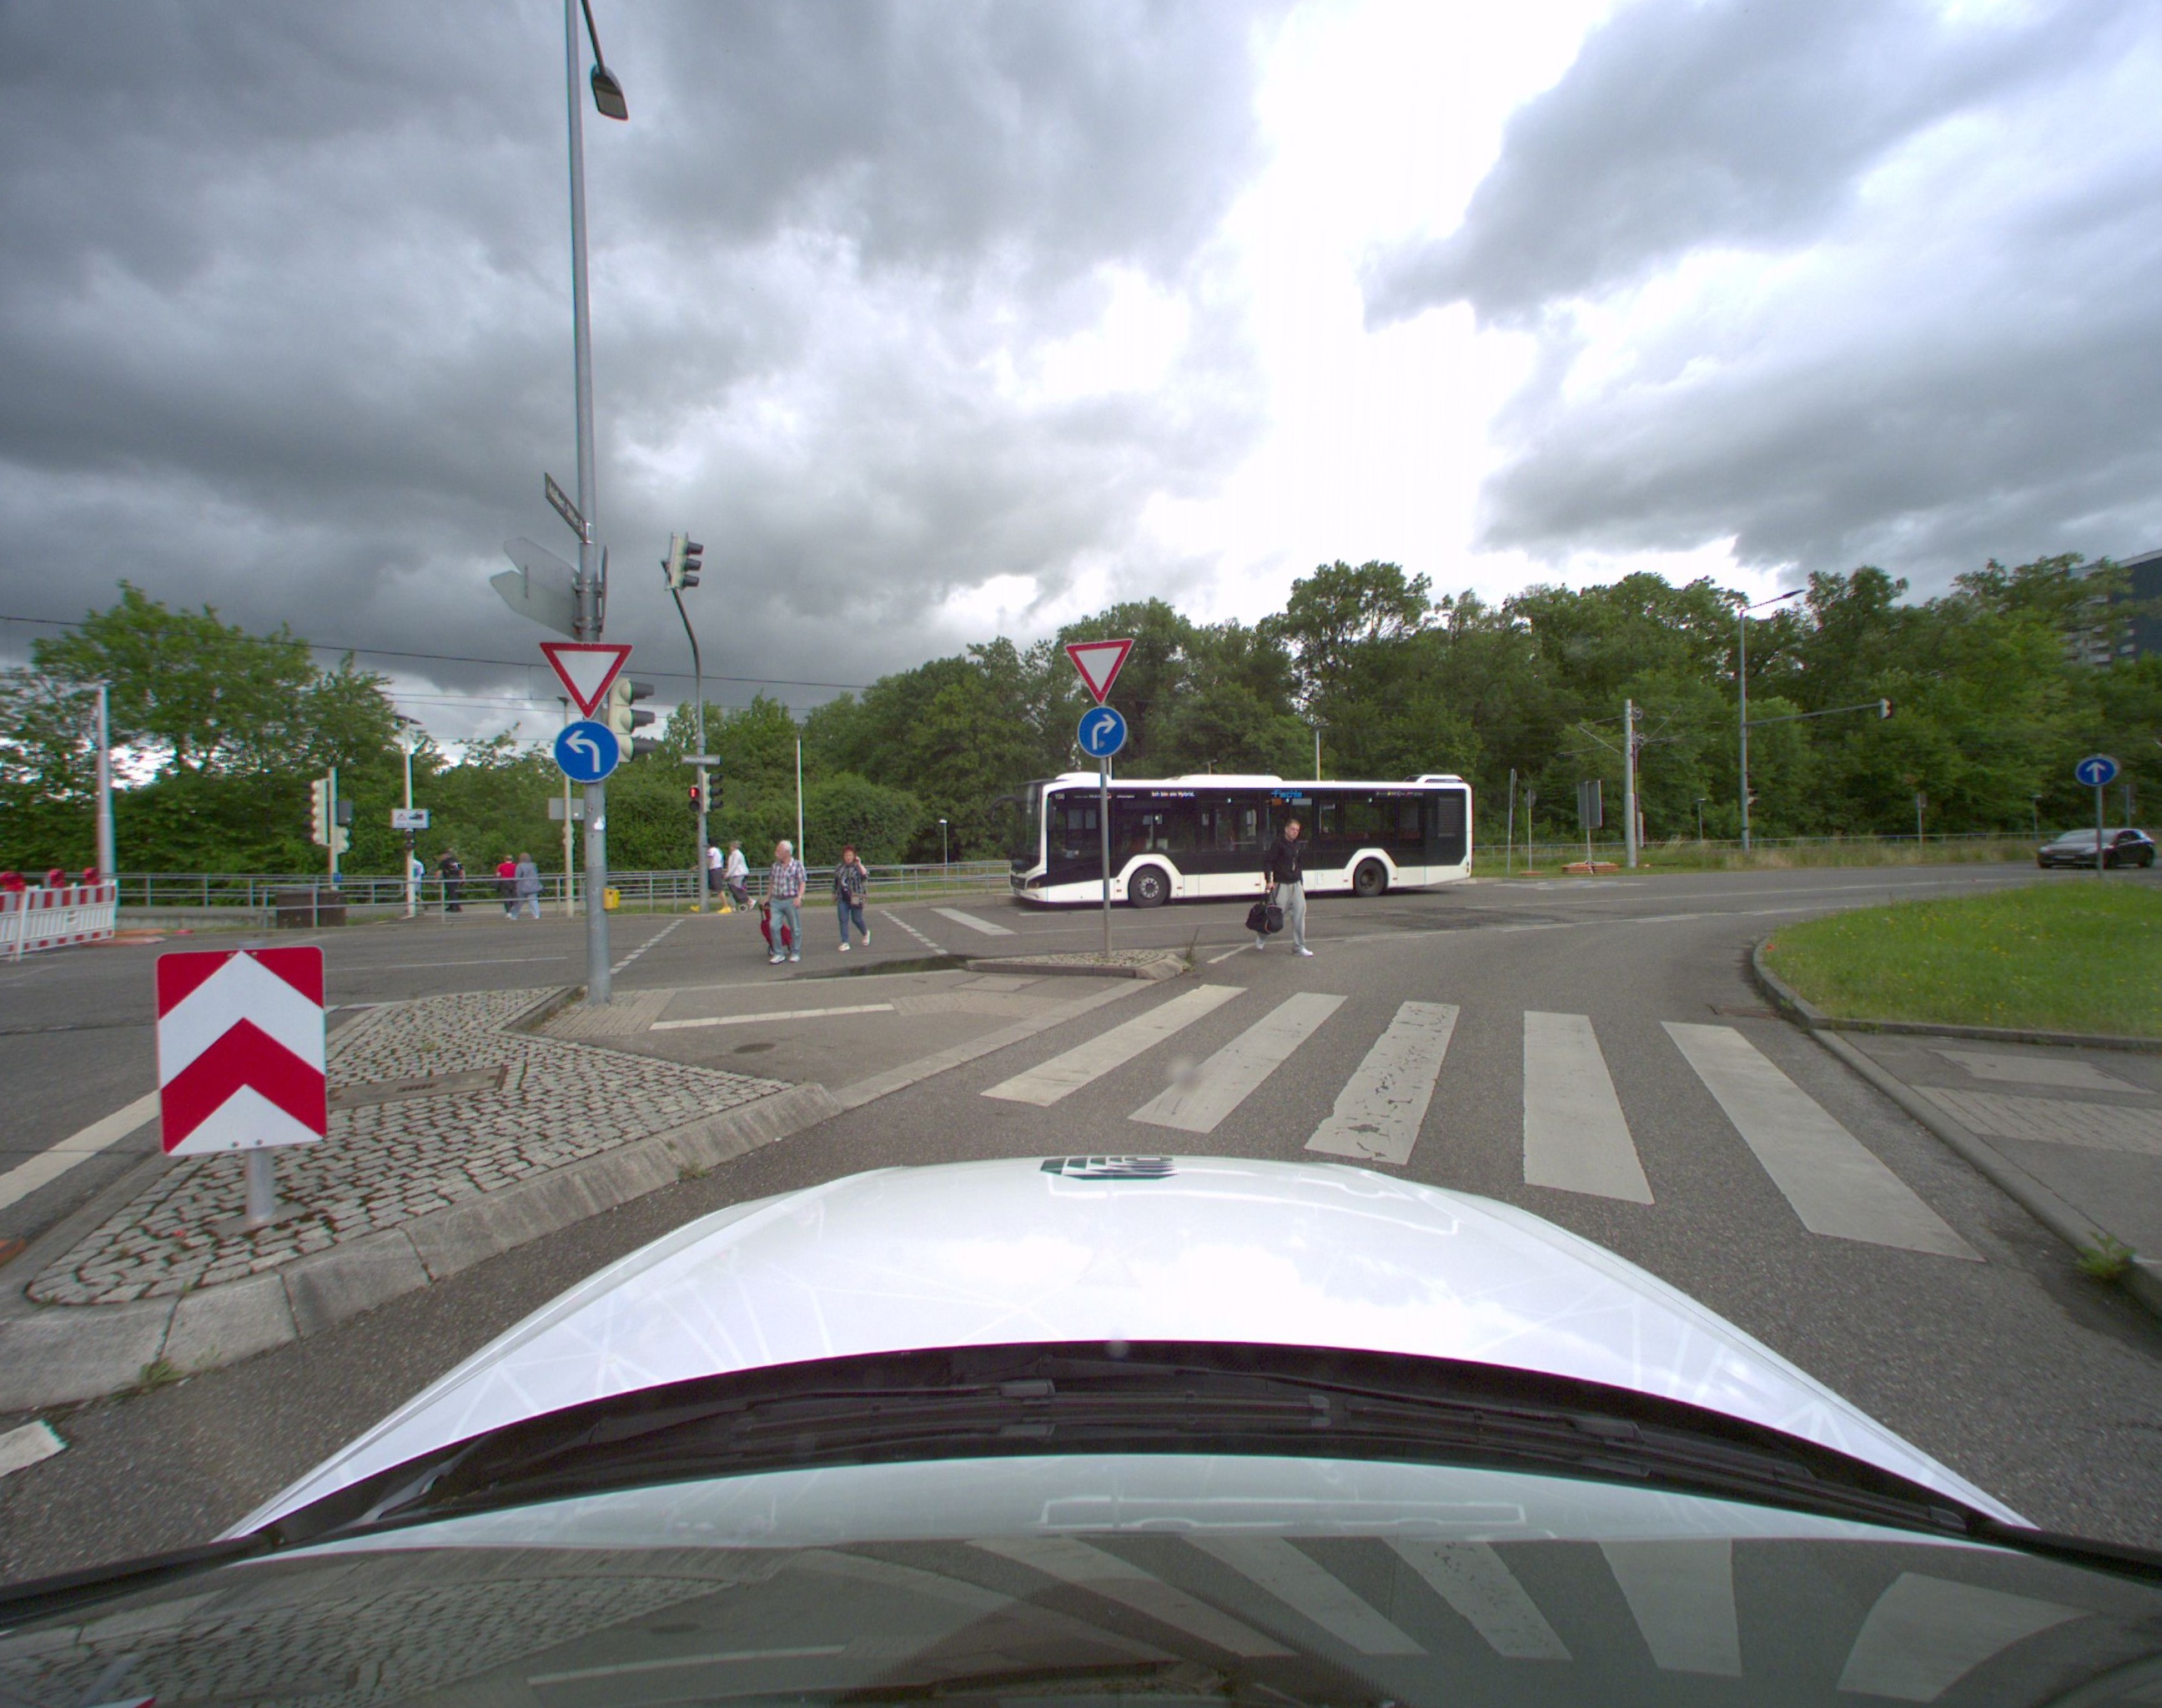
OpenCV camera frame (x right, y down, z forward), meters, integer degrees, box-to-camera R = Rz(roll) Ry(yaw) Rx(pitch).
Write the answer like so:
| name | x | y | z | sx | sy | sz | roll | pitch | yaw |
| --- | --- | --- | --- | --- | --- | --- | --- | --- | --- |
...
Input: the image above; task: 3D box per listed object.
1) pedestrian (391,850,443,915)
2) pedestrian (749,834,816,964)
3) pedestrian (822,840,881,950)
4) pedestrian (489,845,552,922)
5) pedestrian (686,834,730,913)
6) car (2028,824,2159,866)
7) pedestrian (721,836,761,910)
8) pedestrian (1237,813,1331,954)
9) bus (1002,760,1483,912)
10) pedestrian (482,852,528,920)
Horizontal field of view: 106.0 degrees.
| name | x | y | z | sx | sy | sz | roll | pitch | yaw |
| --- | --- | --- | --- | --- | --- | --- | --- | --- | --- |
| pedestrian | -18.350 | 0.785 | 22.509 | 0.946 | 1.747 | 0.726 | -1 | 0 | 20 |
| pedestrian | -3.939 | 0.576 | 10.802 | 0.721 | 1.633 | 0.695 | -2 | 0 | -15 |
| pedestrian | -3.402 | 0.591 | 12.122 | 0.730 | 1.567 | 0.690 | -1 | 0 | -9 |
| pedestrian | -13.100 | 0.678 | 19.040 | 0.713 | 1.747 | 0.963 | -1 | 0 | 26 |
| pedestrian | -8.499 | 0.436 | 18.593 | 0.721 | 1.747 | 0.953 | -1 | 0 | -13 |
| car | 37.480 | -0.345 | 30.142 | 4.430 | 1.434 | 1.749 | -1 | 0 | -21 |
| pedestrian | -8.263 | 0.459 | 19.838 | 0.721 | 1.747 | 0.953 | -1 | 0 | -13 |
| pedestrian | 2.637 | 0.366 | 10.721 | 0.951 | 1.747 | 1.062 | -1 | 0 | 0 |
| bus | 4.288 | -0.528 | 20.491 | 12.198 | 3.203 | 2.658 | -1 | 0 | -19 |
| pedestrian | -14.273 | 0.775 | 20.191 | 0.722 | 1.621 | 0.800 | -1 | 0 | -19 |
